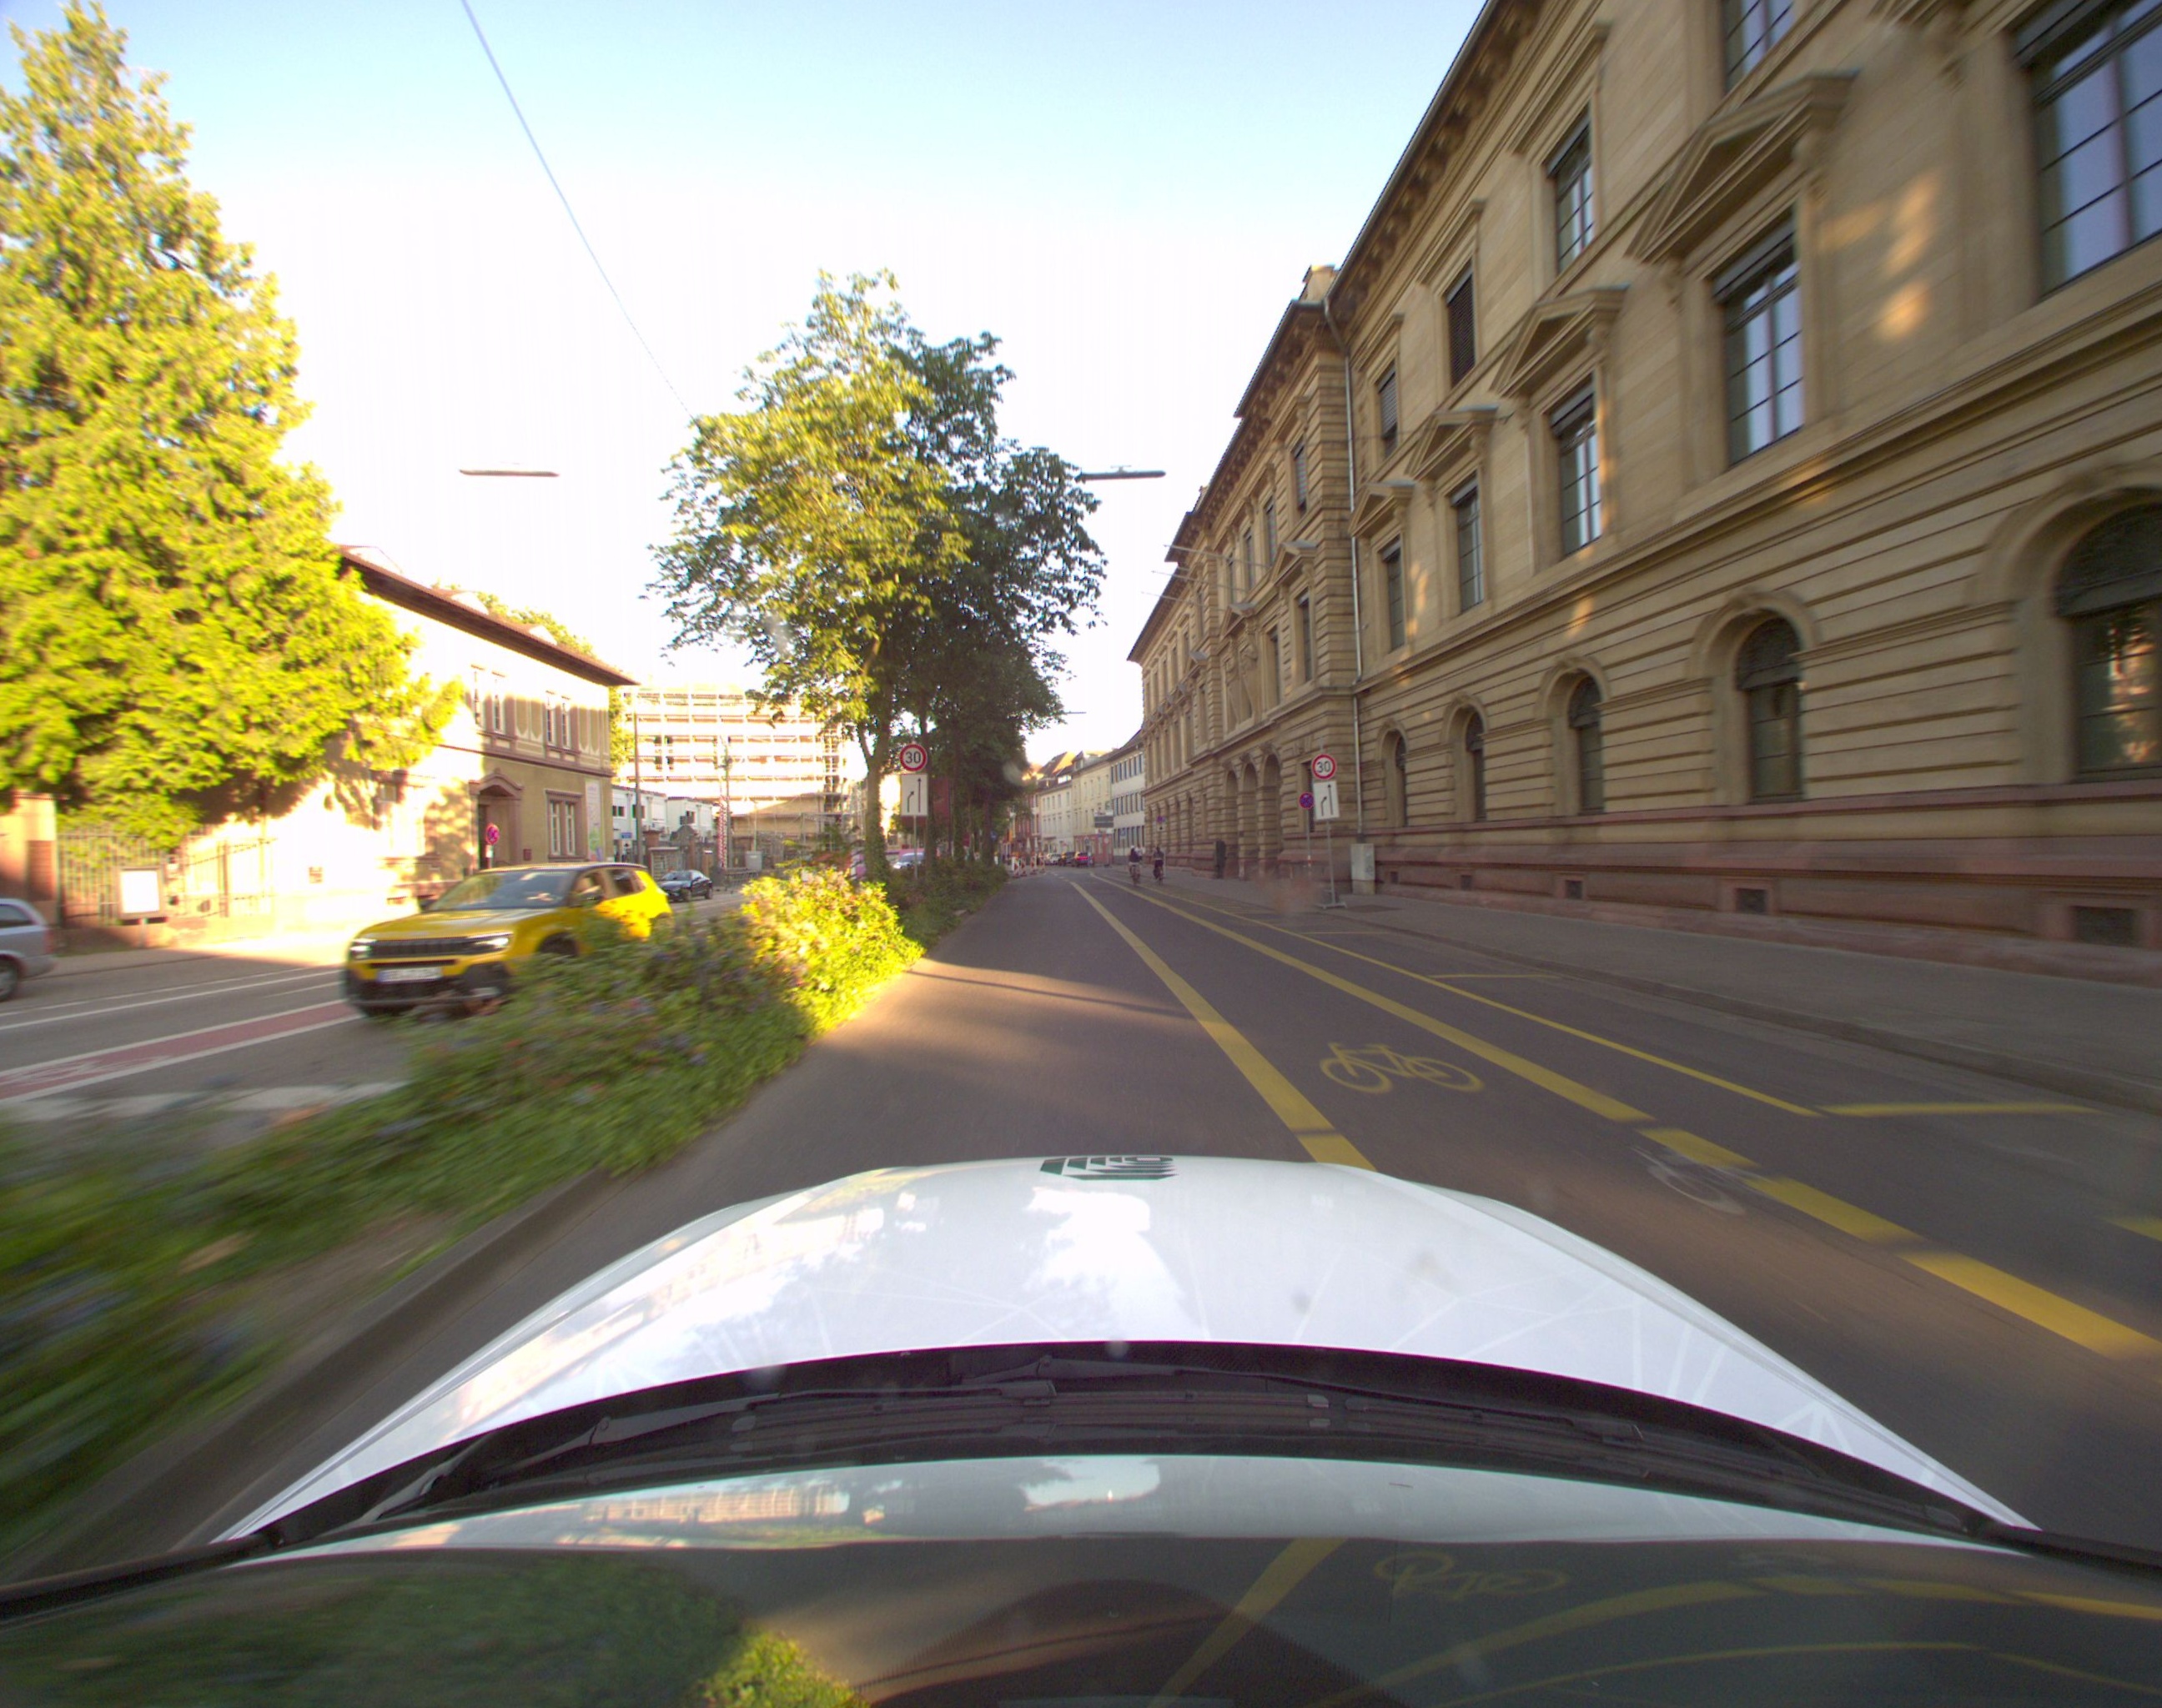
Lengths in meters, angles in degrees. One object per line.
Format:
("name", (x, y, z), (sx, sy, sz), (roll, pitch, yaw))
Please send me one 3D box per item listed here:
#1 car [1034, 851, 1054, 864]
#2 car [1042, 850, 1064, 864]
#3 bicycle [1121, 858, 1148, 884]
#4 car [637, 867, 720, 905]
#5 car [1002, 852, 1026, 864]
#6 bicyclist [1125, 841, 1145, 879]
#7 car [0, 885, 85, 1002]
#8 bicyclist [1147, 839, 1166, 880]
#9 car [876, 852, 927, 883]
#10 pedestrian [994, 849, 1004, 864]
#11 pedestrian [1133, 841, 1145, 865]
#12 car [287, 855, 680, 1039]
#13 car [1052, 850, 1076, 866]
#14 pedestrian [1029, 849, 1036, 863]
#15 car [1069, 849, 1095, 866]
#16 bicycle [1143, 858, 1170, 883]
("car", (-4.778, 0.437, 104.955), (1.816, 1.560, 3.844), (-2, 0, -16))
("car", (-3.512, 0.359, 100.492), (1.816, 1.560, 3.844), (-2, 0, -16))
("bicycle", (2.232, 0.704, 34.177), (0.670, 1.071, 1.894), (0, 0, -11))
("car", (-17.163, 1.312, 34.919), (1.675, 1.351, 3.883), (-3, 0, -2))
("car", (-8.716, 0.501, 106.116), (1.822, 1.560, 3.832), (-2, 0, -26))
("bicyclist", (2.251, 0.252, 34.103), (0.669, 1.566, 0.696), (0, 0, -11))
("car", (-15.533, 1.258, 9.843), (1.740, 1.547, 4.364), (-1, 0, -3))
("bicyclist", (3.315, 0.228, 35.637), (0.649, 1.760, 0.862), (0, 0, -9))
("car", (-10.633, 0.756, 48.571), (1.836, 1.674, 4.558), (-3, 0, 1))
("pedestrian", (-9.664, 0.299, 95.971), (0.728, 1.674, 0.900), (-2, 0, 24))
("pedestrian", (4.301, -0.054, 60.836), (0.814, 1.765, 1.038), (-1, 0, 0))
("car", (-6.427, 0.839, 9.478), (1.844, 1.547, 4.108), (-2, 0, -7))
("car", (-1.992, 0.441, 92.520), (1.815, 1.684, 3.980), (-2, 0, -14))
("pedestrian", (-6.224, 0.253, 104.771), (0.828, 1.844, 0.958), (-1, 0, 0))
("car", (0.103, 0.323, 84.884), (1.815, 1.682, 3.900), (-2, 0, -14))
("bicycle", (3.301, 0.708, 35.808), (0.652, 1.071, 2.251), (0, 0, -8))
